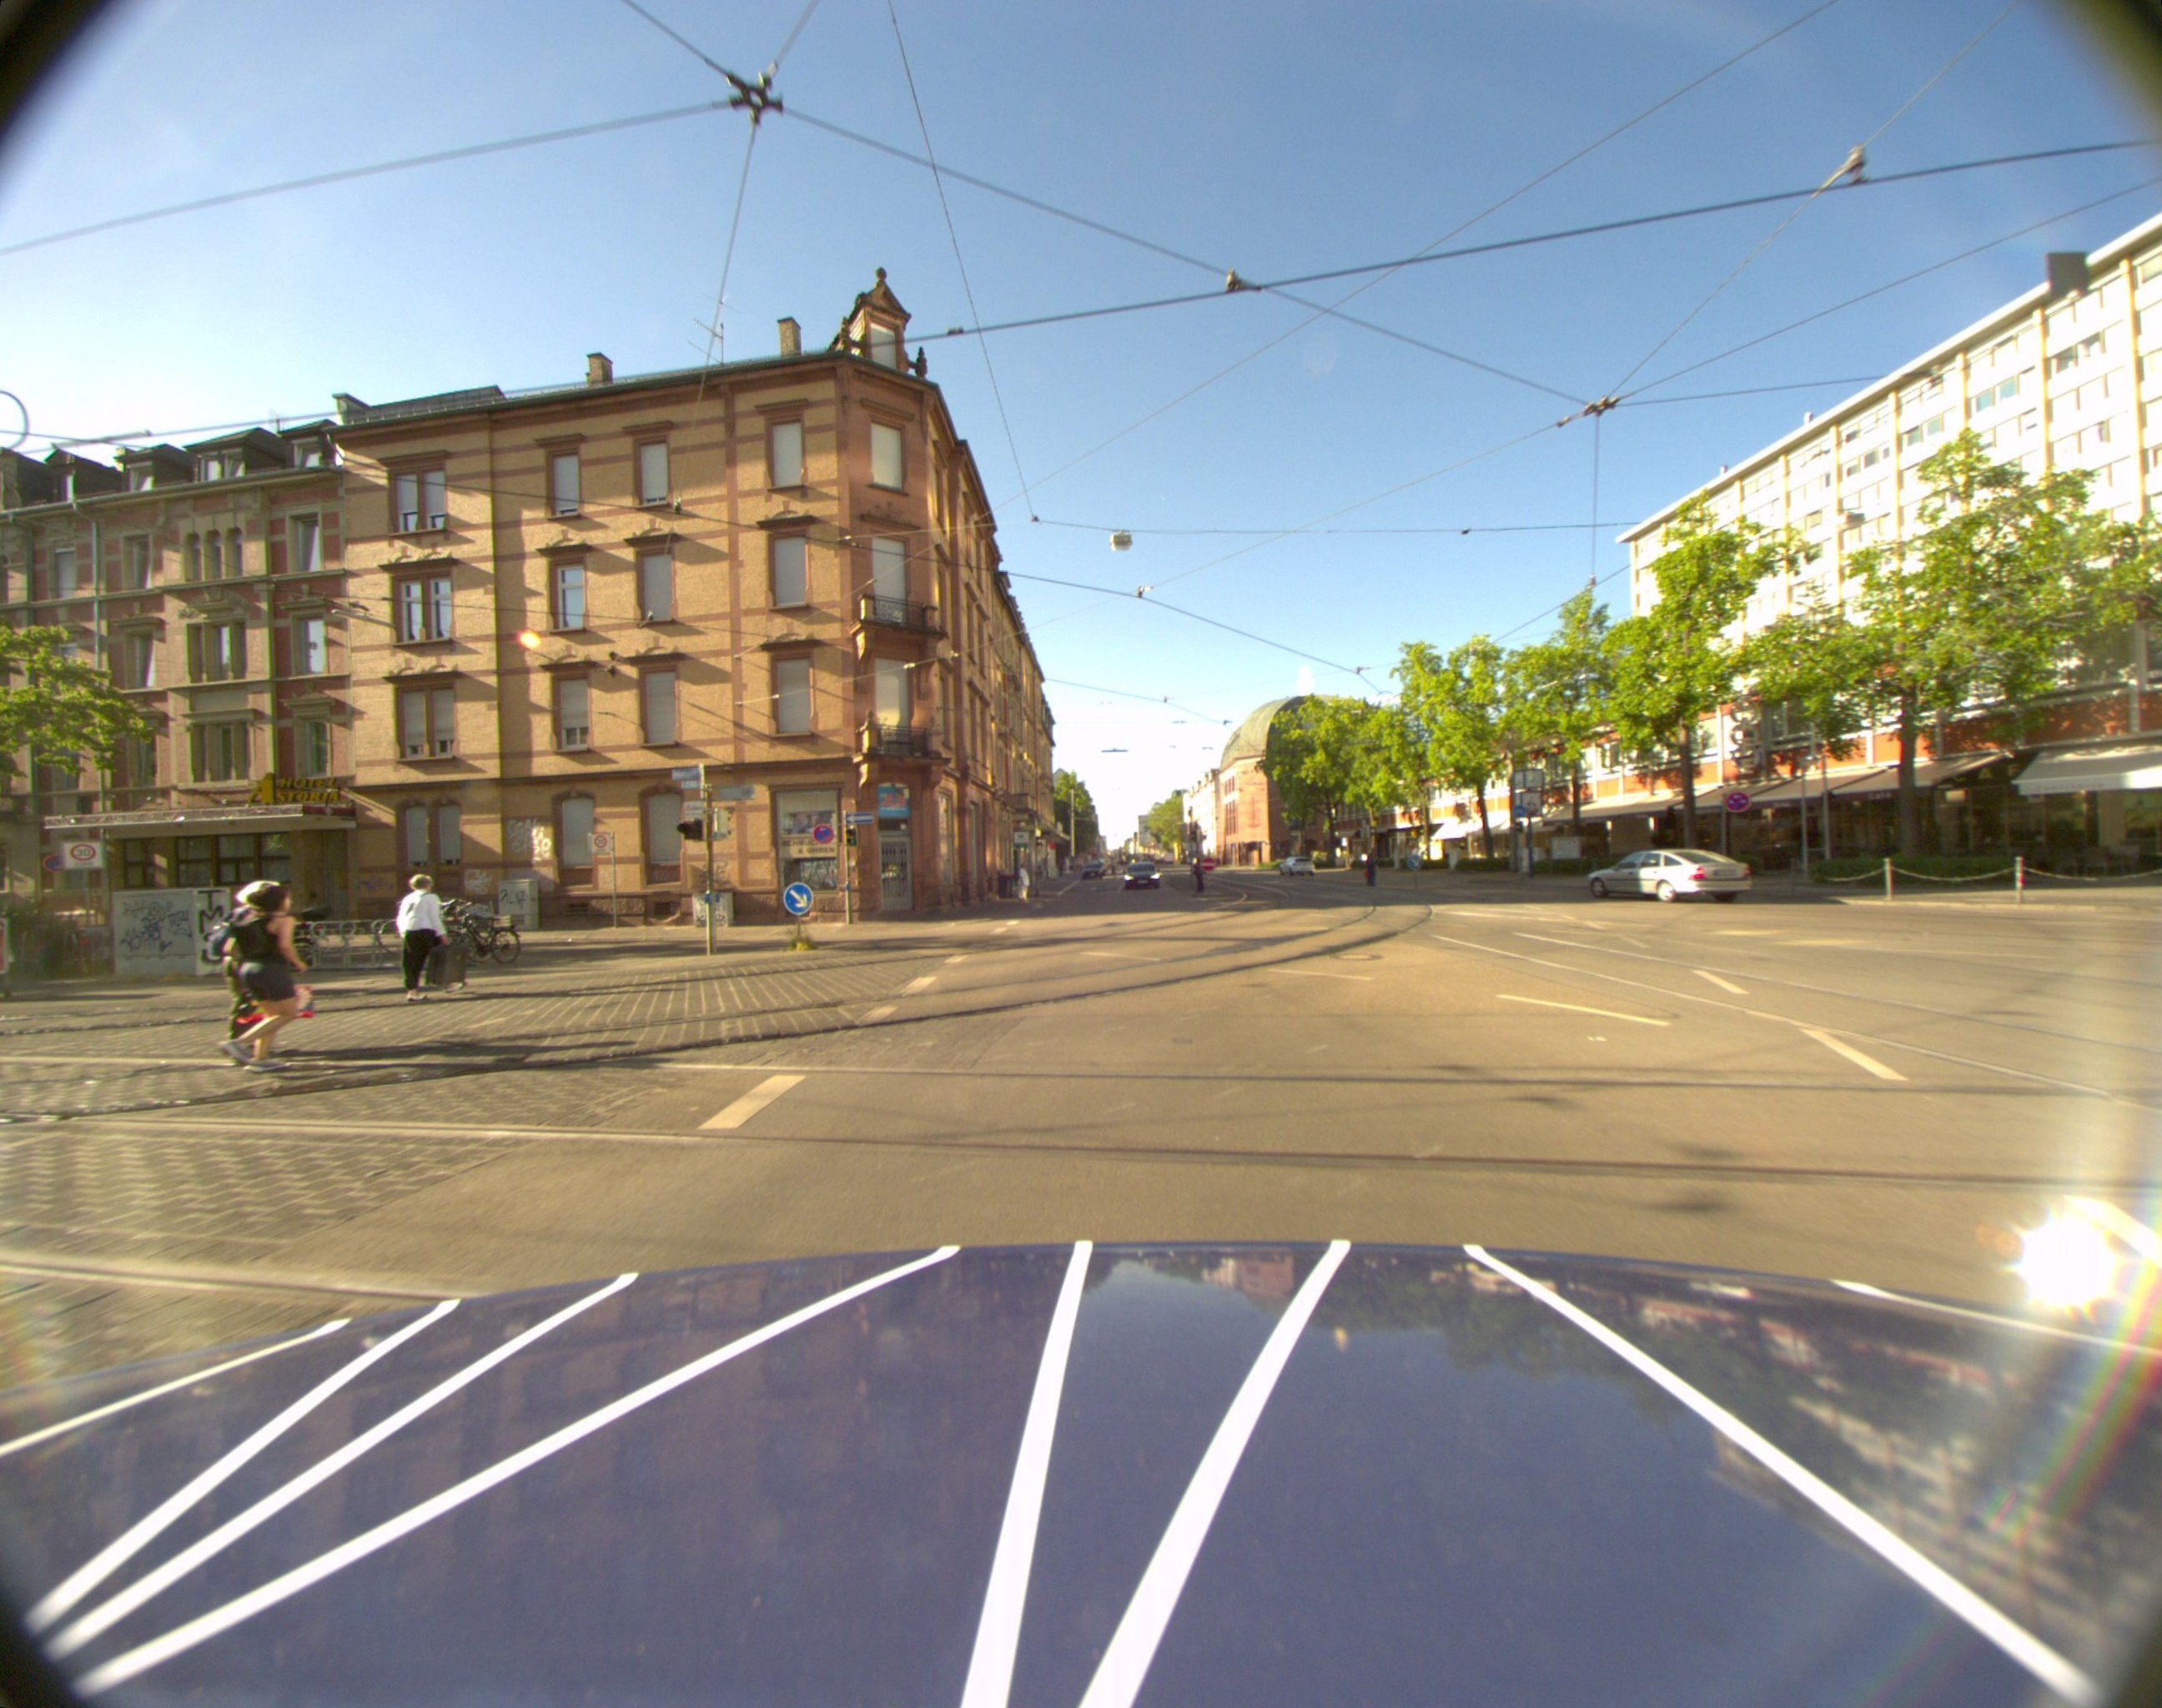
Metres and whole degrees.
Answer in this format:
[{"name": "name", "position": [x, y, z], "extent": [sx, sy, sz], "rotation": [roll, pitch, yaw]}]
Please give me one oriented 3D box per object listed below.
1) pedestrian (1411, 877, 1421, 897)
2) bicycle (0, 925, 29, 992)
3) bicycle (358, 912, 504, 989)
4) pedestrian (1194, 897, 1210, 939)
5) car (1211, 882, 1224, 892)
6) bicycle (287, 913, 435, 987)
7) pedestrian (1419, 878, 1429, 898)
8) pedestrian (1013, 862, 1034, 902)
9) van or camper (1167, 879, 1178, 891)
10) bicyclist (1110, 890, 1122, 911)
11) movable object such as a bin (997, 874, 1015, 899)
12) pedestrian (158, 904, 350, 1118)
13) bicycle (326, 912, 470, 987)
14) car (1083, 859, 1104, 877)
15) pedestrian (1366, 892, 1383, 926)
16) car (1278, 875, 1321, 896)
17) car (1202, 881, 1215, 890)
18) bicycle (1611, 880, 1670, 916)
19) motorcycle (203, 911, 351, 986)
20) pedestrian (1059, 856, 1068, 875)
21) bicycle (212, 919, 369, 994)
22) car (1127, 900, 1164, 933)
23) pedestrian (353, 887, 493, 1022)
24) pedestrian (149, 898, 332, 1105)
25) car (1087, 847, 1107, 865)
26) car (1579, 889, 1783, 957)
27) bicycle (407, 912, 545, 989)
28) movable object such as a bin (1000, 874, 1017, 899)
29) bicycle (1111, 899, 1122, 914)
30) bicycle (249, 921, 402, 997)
[{"name": "pedestrian", "position": [30.417, 3.026, 69.009], "extent": [0.573, 1.761, 0.706], "rotation": [-1, 0, 4]}, {"name": "bicycle", "position": [-20.580, 1.996, 13.697], "extent": [0.651, 1.202, 2.038], "rotation": [-1, 0, -12]}, {"name": "bicycle", "position": [-12.258, 1.778, 14.462], "extent": [0.753, 1.202, 2.312], "rotation": [-1, -1, 1]}, {"name": "pedestrian", "position": [5.268, 2.760, 33.091], "extent": [0.559, 1.753, 0.895], "rotation": [0, 0, 3]}, {"name": "car", "position": [23.729, 5.720, 132.347], "extent": [1.753, 1.445, 3.472], "rotation": [-2, 0, 1]}, {"name": "bicycle", "position": [-13.837, 1.802, 14.716], "extent": [0.650, 1.202, 2.312], "rotation": [-1, -1, 1]}, {"name": "pedestrian", "position": [31.107, 3.081, 68.943], "extent": [0.573, 1.740, 0.706], "rotation": [-1, 0, 4]}, {"name": "pedestrian", "position": [-2.367, 1.152, 31.471], "extent": [0.683, 1.598, 0.730], "rotation": [-2, 0, -17]}, {"name": "van or camper", "position": [22.302, 7.571, 185.626], "extent": [2.041, 2.722, 7.022], "rotation": [-1, 0, 2]}, {"name": "bicyclist", "position": [3.120, 4.107, 67.658], "extent": [0.895, 1.755, 1.030], "rotation": [-3, 1, 3]}, {"name": "movable object such as a bin", "position": [-3.378, 1.458, 34.226], "extent": [0.664, 1.066, 0.545], "rotation": [1, 0, 5]}, {"name": "pedestrian", "position": [-6.817, 1.221, 6.288], "extent": [0.633, 1.529, 0.943], "rotation": [-1, 1, 35]}, {"name": "bicycle", "position": [-13.013, 1.774, 14.603], "extent": [0.650, 1.202, 2.312], "rotation": [-1, -1, 1]}, {"name": "car", "position": [1.144, 1.198, 67.360], "extent": [1.694, 1.442, 4.361], "rotation": [-3, -1, 2]}, {"name": "pedestrian", "position": [13.319, 2.491, 34.487], "extent": [0.501, 1.509, 0.859], "rotation": [0, 0, 3]}, {"name": "car", "position": [16.650, 2.367, 58.152], "extent": [1.998, 1.443, 4.502], "rotation": [-2, -1, 1]}, {"name": "car", "position": [23.847, 5.874, 142.181], "extent": [1.855, 1.445, 3.854], "rotation": [-2, 0, 3]}, {"name": "bicycle", "position": [19.918, 1.535, 27.109], "extent": [0.498, 1.179, 2.235], "rotation": [-2, 0, 1]}, {"name": "motorcycle", "position": [-16.654, 1.917, 15.826], "extent": [1.948, 1.396, 0.864], "rotation": [1, -3, -34]}, {"name": "pedestrian", "position": [-1.776, 1.210, 78.511], "extent": [0.685, 1.900, 1.063], "rotation": [-3, 1, 5]}, {"name": "bicycle", "position": [-15.411, 1.960, 14.932], "extent": [0.650, 1.202, 2.312], "rotation": [-1, -1, 1]}, {"name": "car", "position": [3.512, 3.396, 42.029], "extent": [1.815, 1.415, 4.154], "rotation": [-3, 0, 2]}, {"name": "pedestrian", "position": [-8.648, 1.277, 10.026], "extent": [0.923, 1.622, 1.010], "rotation": [-1, 1, 18]}, {"name": "pedestrian", "position": [-7.591, 1.245, 6.876], "extent": [0.923, 1.622, 0.943], "rotation": [-1, 1, 35]}, {"name": "car", "position": [1.699, 0.215, 79.501], "extent": [1.694, 1.703, 4.617], "rotation": [-3, 0, 5]}, {"name": "car", "position": [16.254, 1.799, 20.985], "extent": [1.998, 1.443, 4.651], "rotation": [-2, -1, 1]}, {"name": "bicycle", "position": [-11.411, 1.780, 14.454], "extent": [0.753, 1.202, 2.312], "rotation": [-1, -1, 1]}, {"name": "movable object such as a bin", "position": [-3.323, 1.483, 34.813], "extent": [0.664, 1.066, 0.591], "rotation": [1, 0, 5]}, {"name": "bicycle", "position": [3.149, 4.684, 67.710], "extent": [0.889, 1.155, 2.079], "rotation": [-3, 1, 3]}, {"name": "bicycle", "position": [-14.537, 1.971, 14.735], "extent": [0.650, 1.202, 2.312], "rotation": [-1, -1, 1]}]
